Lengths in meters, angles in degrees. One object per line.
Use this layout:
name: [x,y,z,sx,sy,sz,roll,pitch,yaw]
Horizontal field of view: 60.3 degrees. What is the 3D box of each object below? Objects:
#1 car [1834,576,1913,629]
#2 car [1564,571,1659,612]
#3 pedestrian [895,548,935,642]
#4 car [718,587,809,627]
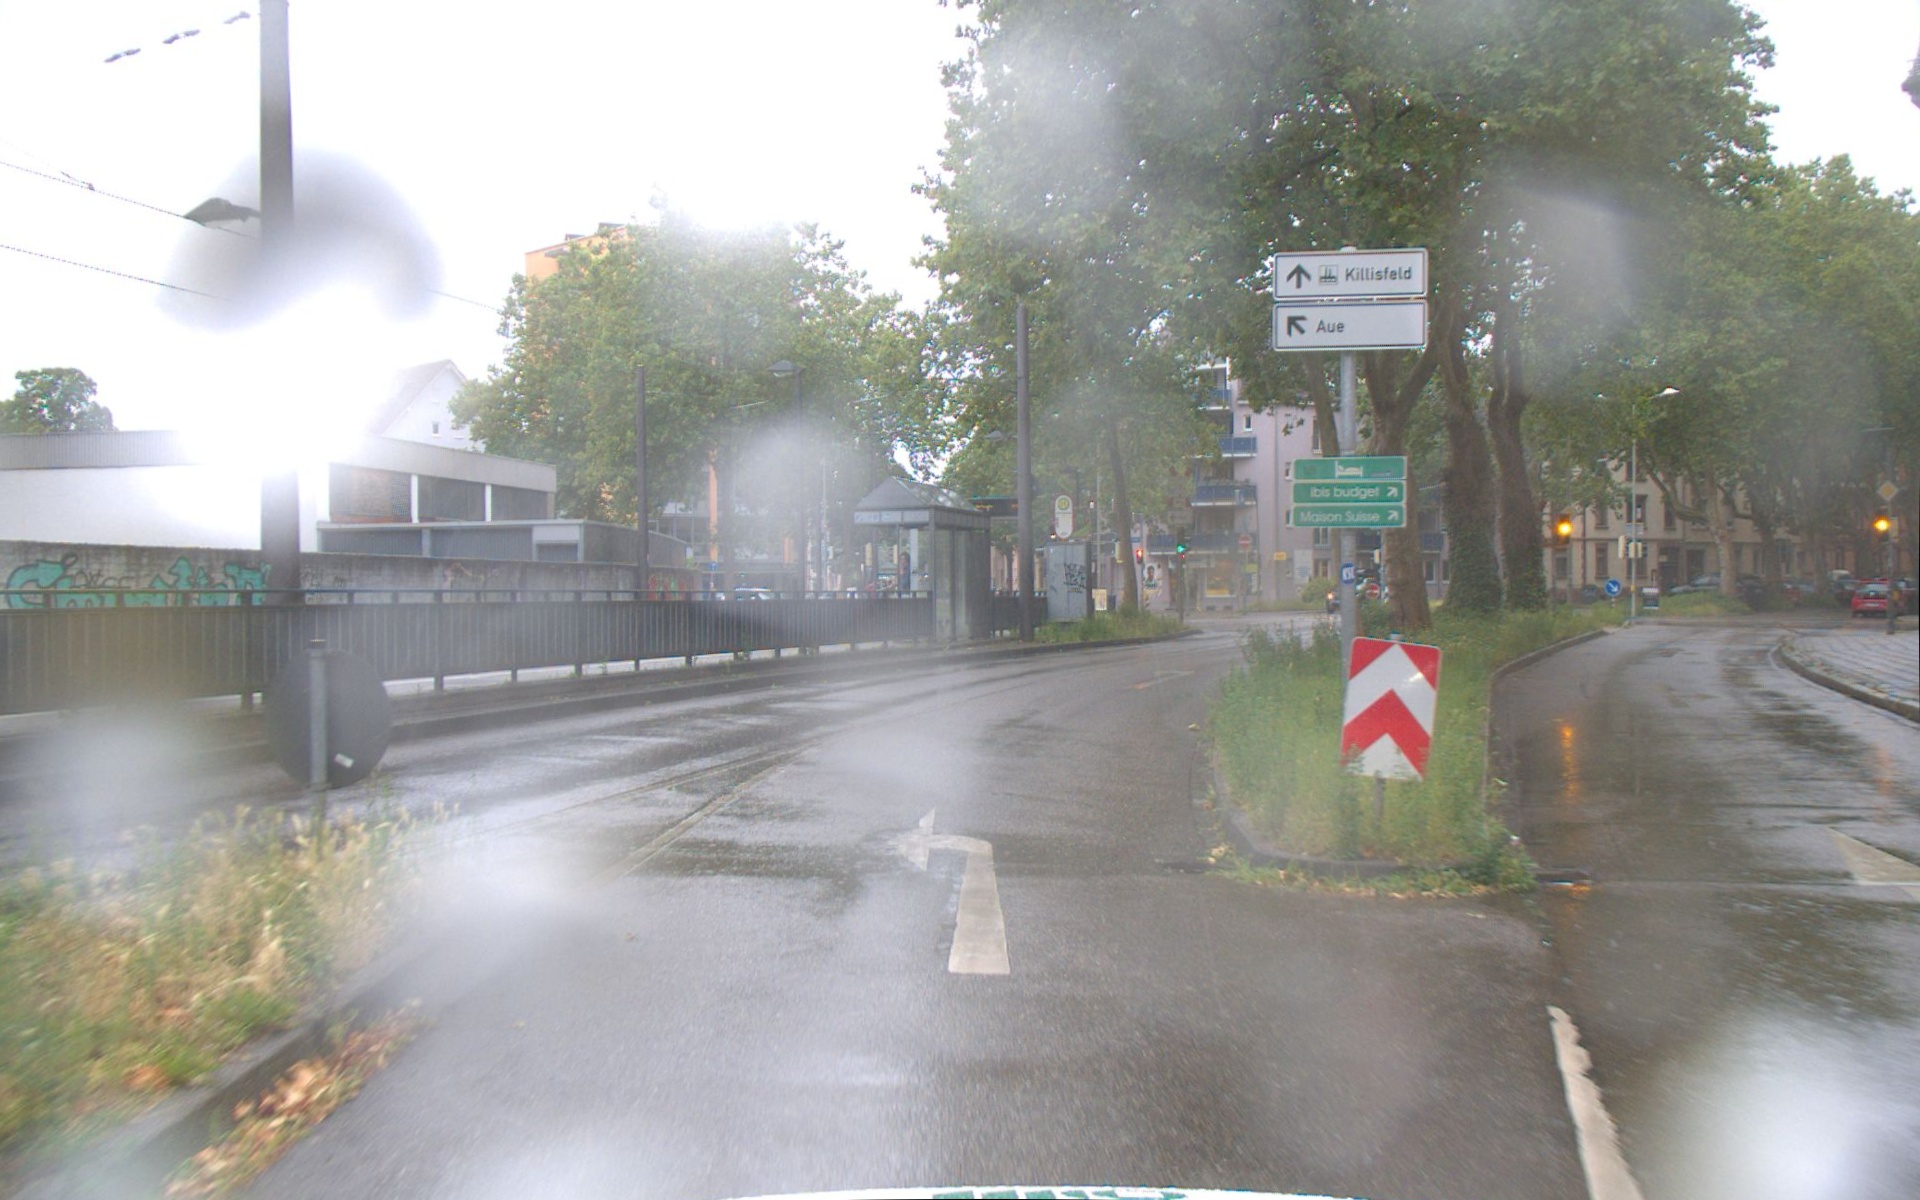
car: [37.654,0.089,68.131,1.964,2.049,3.977,-3,0,42]
car: [27.329,-0.359,69.413,3.419,1.550,1.515,-3,0,35]
pedestrian: [-0.869,-0.096,31.822,0.571,1.761,0.566,-2,-1,-16]
car: [-9.065,0.343,76.263,3.942,1.680,1.964,-3,0,38]
